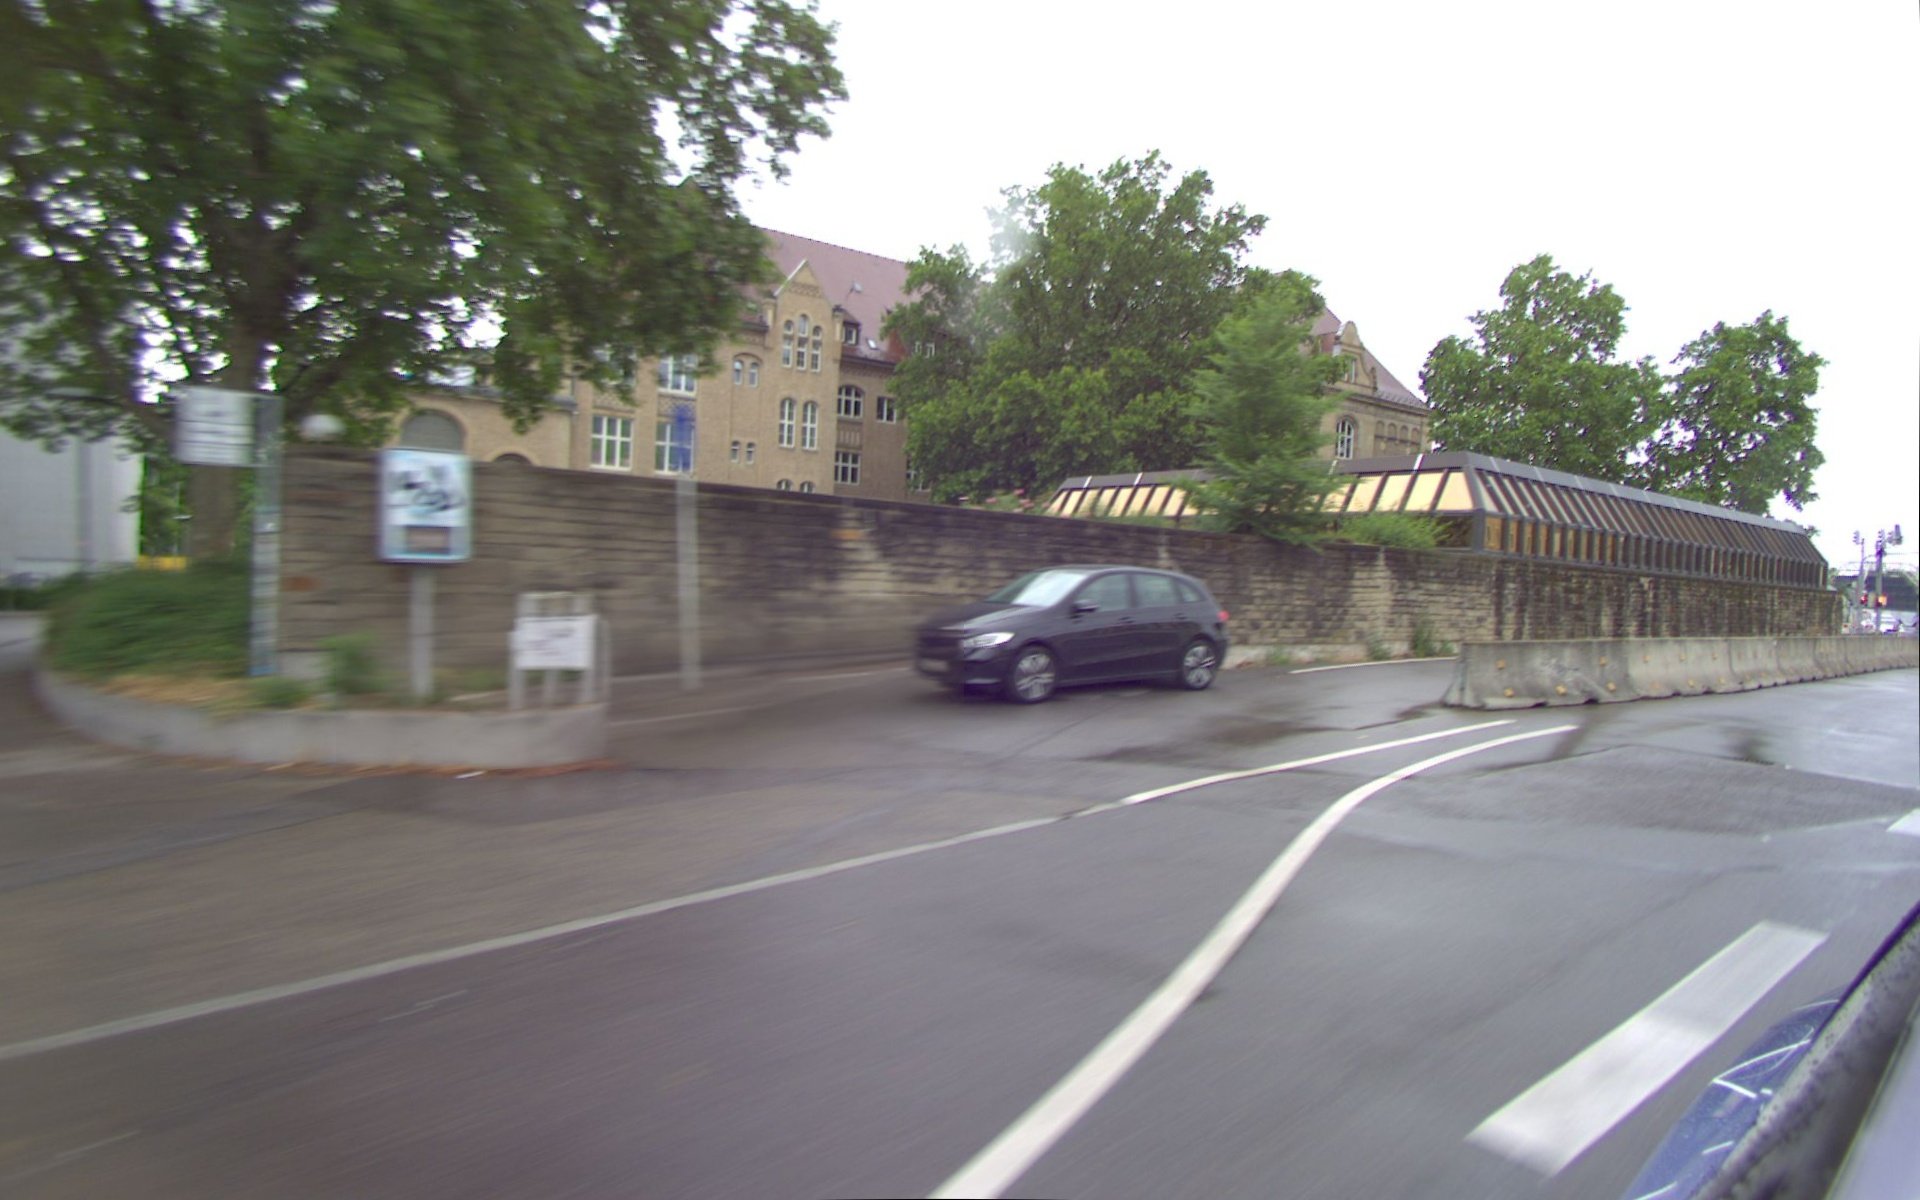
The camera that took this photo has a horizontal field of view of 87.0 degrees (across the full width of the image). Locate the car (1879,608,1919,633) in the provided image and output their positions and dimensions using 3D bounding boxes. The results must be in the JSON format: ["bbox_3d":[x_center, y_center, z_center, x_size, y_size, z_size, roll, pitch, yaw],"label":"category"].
[{"bbox_3d":[79.169,1.689,85.029,1.983,2.039,4.375,1,0,30],"label":"car"}]

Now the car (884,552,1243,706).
[{"bbox_3d":[1.354,0.243,12.614,4.242,1.570,1.812,-1,4,-33],"label":"car"}]
